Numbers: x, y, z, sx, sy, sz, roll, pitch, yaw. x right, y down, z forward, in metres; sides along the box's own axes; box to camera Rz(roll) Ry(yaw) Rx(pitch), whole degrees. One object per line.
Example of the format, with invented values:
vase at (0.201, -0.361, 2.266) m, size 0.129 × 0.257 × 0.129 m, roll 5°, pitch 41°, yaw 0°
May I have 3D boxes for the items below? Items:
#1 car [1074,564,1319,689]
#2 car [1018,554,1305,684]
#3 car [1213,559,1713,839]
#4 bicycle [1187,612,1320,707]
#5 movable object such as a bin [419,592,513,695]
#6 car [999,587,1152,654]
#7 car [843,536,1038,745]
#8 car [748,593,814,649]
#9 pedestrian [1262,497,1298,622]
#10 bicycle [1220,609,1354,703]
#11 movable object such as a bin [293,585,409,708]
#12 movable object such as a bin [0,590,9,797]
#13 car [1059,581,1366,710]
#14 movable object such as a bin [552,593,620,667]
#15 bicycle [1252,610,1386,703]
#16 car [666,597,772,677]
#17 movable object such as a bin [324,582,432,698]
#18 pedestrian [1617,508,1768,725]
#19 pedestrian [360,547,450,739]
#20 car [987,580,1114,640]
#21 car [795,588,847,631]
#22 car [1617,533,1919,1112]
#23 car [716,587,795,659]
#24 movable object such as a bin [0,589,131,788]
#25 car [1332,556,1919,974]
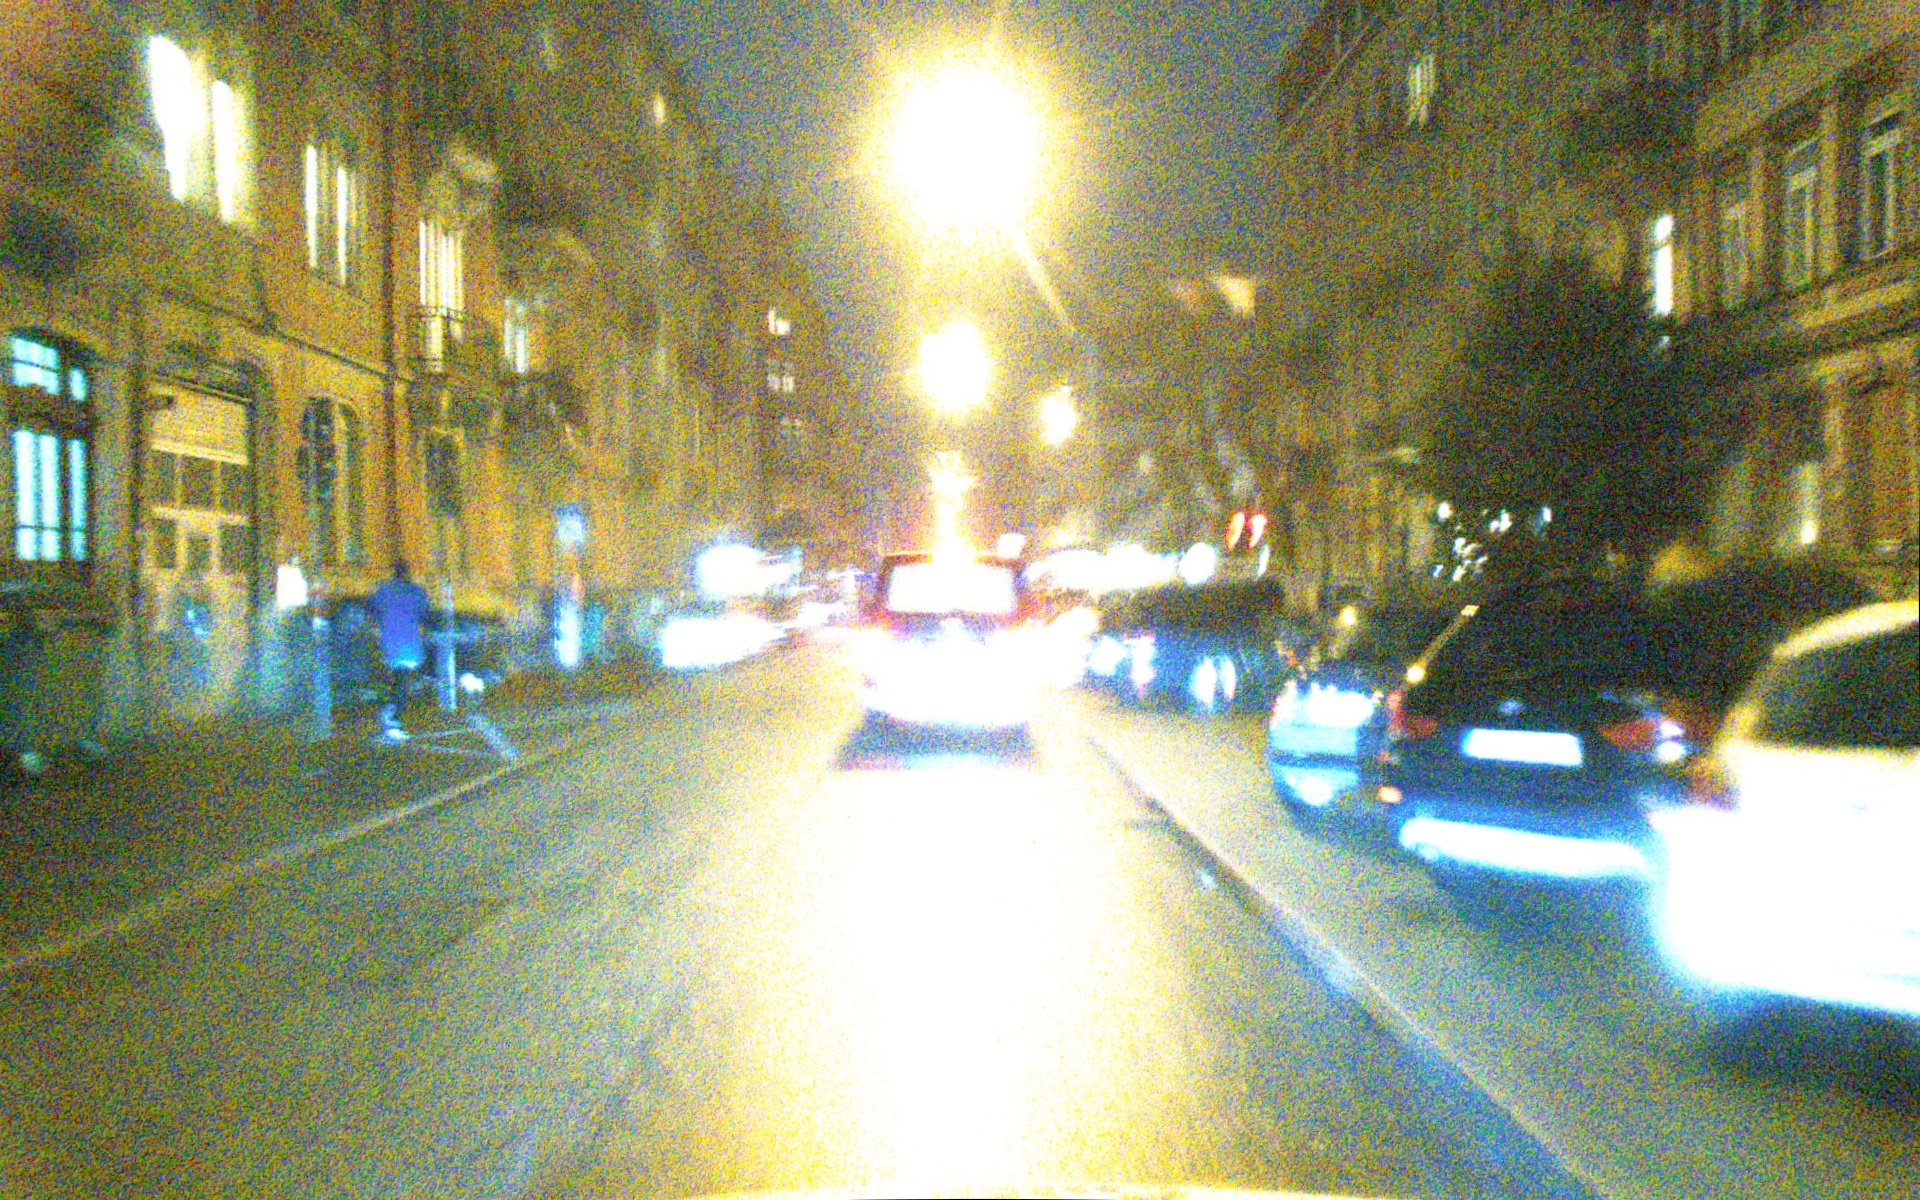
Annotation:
car at (3.730, 0.387, 25.998) m, size 3.517 × 1.741 × 1.630 m, roll -3°, pitch 0°, yaw -30°
car at (3.534, 0.281, 28.684) m, size 4.737 × 2.084 × 2.044 m, roll -1°, pitch 1°, yaw -32°
car at (3.683, 0.590, 11.883) m, size 3.614 × 1.608 × 1.572 m, roll -3°, pitch 1°, yaw -36°
bicycle at (3.571, 0.702, 20.235) m, size 0.513 × 1.094 × 1.808 m, roll -2°, pitch 0°, yaw -31°
movable object such as a bin at (-7.081, 0.603, 23.760) m, size 0.954 × 1.423 × 1.133 m, roll 1°, pitch 0°, yaw 2°
car at (2.884, 0.492, 40.931) m, size 3.526 × 1.478 × 1.651 m, roll -3°, pitch 0°, yaw -36°
car at (-0.220, 0.422, 18.578) m, size 1.953 × 2.086 × 3.999 m, roll 0°, pitch -1°, yaw -1°
car at (-5.266, 0.597, 48.975) m, size 1.777 × 1.584 × 4.073 m, roll 0°, pitch 0°, yaw -4°
pedestrian at (9.301, -1.169, 48.119) m, size 0.873 × 3.589 × 0.791 m, roll 0°, pitch 0°, yaw -1°
bicycle at (4.034, 0.680, 20.536) m, size 0.513 × 1.094 × 1.808 m, roll -2°, pitch 0°, yaw -31°
movable object such as a bin at (-7.466, 0.558, 20.327) m, size 0.954 × 1.444 × 1.133 m, roll 1°, pitch 0°, yaw 2°
movable object such as a bin at (-7.278, 0.643, 11.056) m, size 1.117 × 1.444 × 1.154 m, roll 1°, pitch 0°, yaw 2°
car at (3.521, 0.584, 22.933) m, size 3.941 × 1.518 × 1.719 m, roll -3°, pitch 0°, yaw -28°
movable object such as a bin at (-7.442, 0.586, 32.928) m, size 1.026 × 1.423 × 1.158 m, roll 1°, pitch 0°, yaw 2°
bicycle at (4.496, 0.690, 20.829) m, size 0.513 × 1.094 × 1.808 m, roll -2°, pitch 0°, yaw -31°
car at (-4.838, 0.703, 33.598) m, size 1.554 × 1.508 × 3.793 m, roll 0°, pitch 0°, yaw 0°
movable object such as a bin at (-7.581, 0.506, 21.603) m, size 0.954 × 1.444 × 1.133 m, roll 1°, pitch 0°, yaw 2°
pedestrian at (6.691, 0.143, 15.157) m, size 0.851 × 1.888 × 0.992 m, roll -2°, pitch 0°, yaw -3°
pedestrian at (-5.547, 0.417, 16.566) m, size 0.579 × 1.852 × 0.794 m, roll 2°, pitch 0°, yaw -1°
car at (2.694, 0.293, 48.966) m, size 3.529 × 1.618 × 1.584 m, roll -3°, pitch 0°, yaw -38°
car at (-5.695, 0.373, 68.327) m, size 1.845 × 1.714 × 3.999 m, roll 0°, pitch 0°, yaw -1°
car at (4.119, 0.607, 5.681) m, size 3.602 × 1.608 × 1.577 m, roll 0°, pitch 0°, yaw -29°
car at (-4.771, 0.509, 38.985) m, size 1.622 × 1.584 × 4.073 m, roll 0°, pitch 0°, yaw -4°
movable object such as a bin at (-7.310, 0.645, 12.785) m, size 1.117 × 1.444 × 1.248 m, roll 1°, pitch 0°, yaw 2°
car at (3.581, 0.622, 8.157) m, size 3.619 × 1.608 × 1.569 m, roll 0°, pitch 0°, yaw -40°
